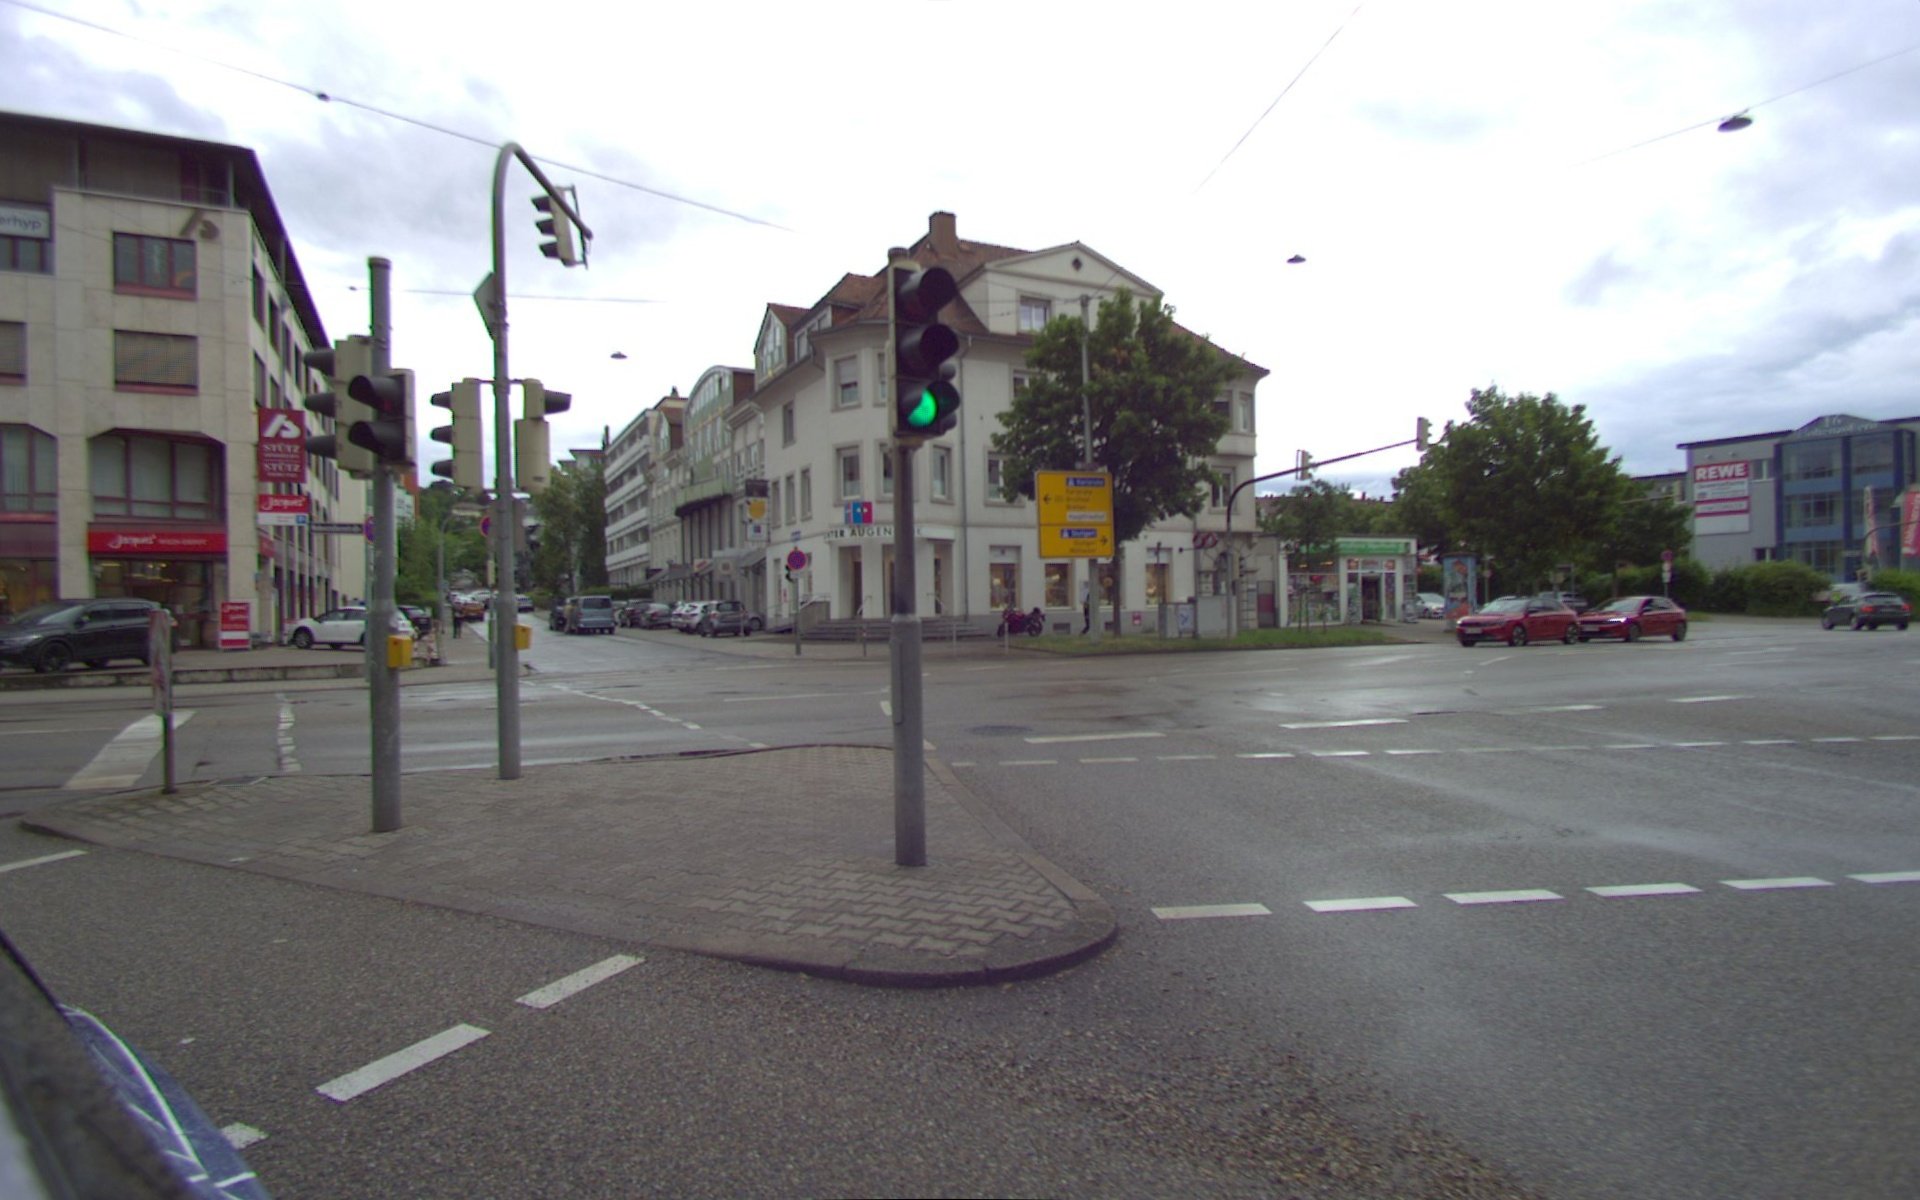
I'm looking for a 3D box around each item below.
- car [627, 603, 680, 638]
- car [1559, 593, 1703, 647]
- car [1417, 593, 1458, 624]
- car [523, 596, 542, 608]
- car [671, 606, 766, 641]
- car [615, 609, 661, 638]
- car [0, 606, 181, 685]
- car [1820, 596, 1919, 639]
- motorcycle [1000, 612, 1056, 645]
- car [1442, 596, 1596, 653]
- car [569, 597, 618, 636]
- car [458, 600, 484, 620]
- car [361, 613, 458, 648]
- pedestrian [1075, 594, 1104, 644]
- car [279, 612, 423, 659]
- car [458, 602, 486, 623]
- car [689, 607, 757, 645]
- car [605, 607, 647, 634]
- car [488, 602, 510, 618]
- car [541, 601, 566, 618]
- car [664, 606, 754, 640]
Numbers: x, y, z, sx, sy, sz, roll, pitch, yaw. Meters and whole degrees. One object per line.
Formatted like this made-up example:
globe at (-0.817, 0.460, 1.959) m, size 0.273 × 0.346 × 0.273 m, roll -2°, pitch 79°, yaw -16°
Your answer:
car at (-16.545, 1.069, 54.528) m, size 1.966 × 1.596 × 4.013 m, roll -7°, pitch 3°, yaw -26°
car at (21.259, 0.593, 32.065) m, size 3.969 × 1.596 × 2.031 m, roll -1°, pitch 0°, yaw -26°
car at (29.802, 0.501, 63.100) m, size 1.992 × 1.863 × 3.960 m, roll -1°, pitch 0°, yaw 30°
car at (-57.546, 0.235, 136.187) m, size 1.965 × 1.597 × 4.674 m, roll -1°, pitch 0°, yaw -26°
car at (-11.291, 1.081, 47.285) m, size 3.931 × 1.519 × 2.006 m, roll -1°, pitch 0°, yaw -28°
car at (-18.981, 1.328, 59.540) m, size 1.965 × 1.597 × 4.013 m, roll -1°, pitch 0°, yaw -27°
car at (-20.187, 0.950, 22.798) m, size 1.907 × 1.561 × 4.254 m, roll -1°, pitch 0°, yaw 3°
car at (36.865, 0.666, 40.897) m, size 2.288 × 1.596 × 5.012 m, roll -1°, pitch 0°, yaw 29°
motorcycle at (2.533, 1.042, 37.588) m, size 1.978 × 1.157 × 0.721 m, roll -1°, pitch 0°, yaw -25°
car at (16.448, 0.691, 29.800) m, size 3.969 × 1.529 × 2.031 m, roll -1°, pitch 0°, yaw -26°
car at (-19.216, 0.856, 52.946) m, size 1.965 × 1.929 × 4.013 m, roll -1°, pitch 0°, yaw -27°
car at (-41.820, 0.861, 86.555) m, size 1.965 × 1.597 × 4.674 m, roll -1°, pitch 0°, yaw -26°
car at (-26.069, 1.408, 48.073) m, size 3.931 × 1.519 × 2.007 m, roll -1°, pitch 0°, yaw -25°
pedestrian at (4.619, 0.659, 36.102) m, size 0.742 × 1.742 × 0.684 m, roll -1°, pitch 0°, yaw -23°
car at (-20.757, 1.200, 34.569) m, size 3.950 × 1.506 × 1.798 m, roll -1°, pitch 0°, yaw 6°
car at (-39.432, 1.010, 81.717) m, size 1.965 × 1.597 × 4.674 m, roll -1°, pitch 0°, yaw -26°
car at (-10.139, 1.066, 43.144) m, size 1.965 × 1.519 × 4.013 m, roll -1°, pitch 0°, yaw -26°
car at (-21.176, 1.267, 64.076) m, size 1.965 × 1.597 × 4.013 m, roll -1°, pitch 0°, yaw -27°
car at (-48.936, 1.078, 107.288) m, size 1.965 × 1.597 × 4.674 m, roll -1°, pitch 0°, yaw -26°
car at (-41.935, 0.971, 104.297) m, size 1.965 × 1.597 × 4.674 m, roll -1°, pitch 0°, yaw -26°
car at (-12.315, 1.094, 49.635) m, size 3.931 × 1.519 × 2.006 m, roll -1°, pitch 0°, yaw -28°
